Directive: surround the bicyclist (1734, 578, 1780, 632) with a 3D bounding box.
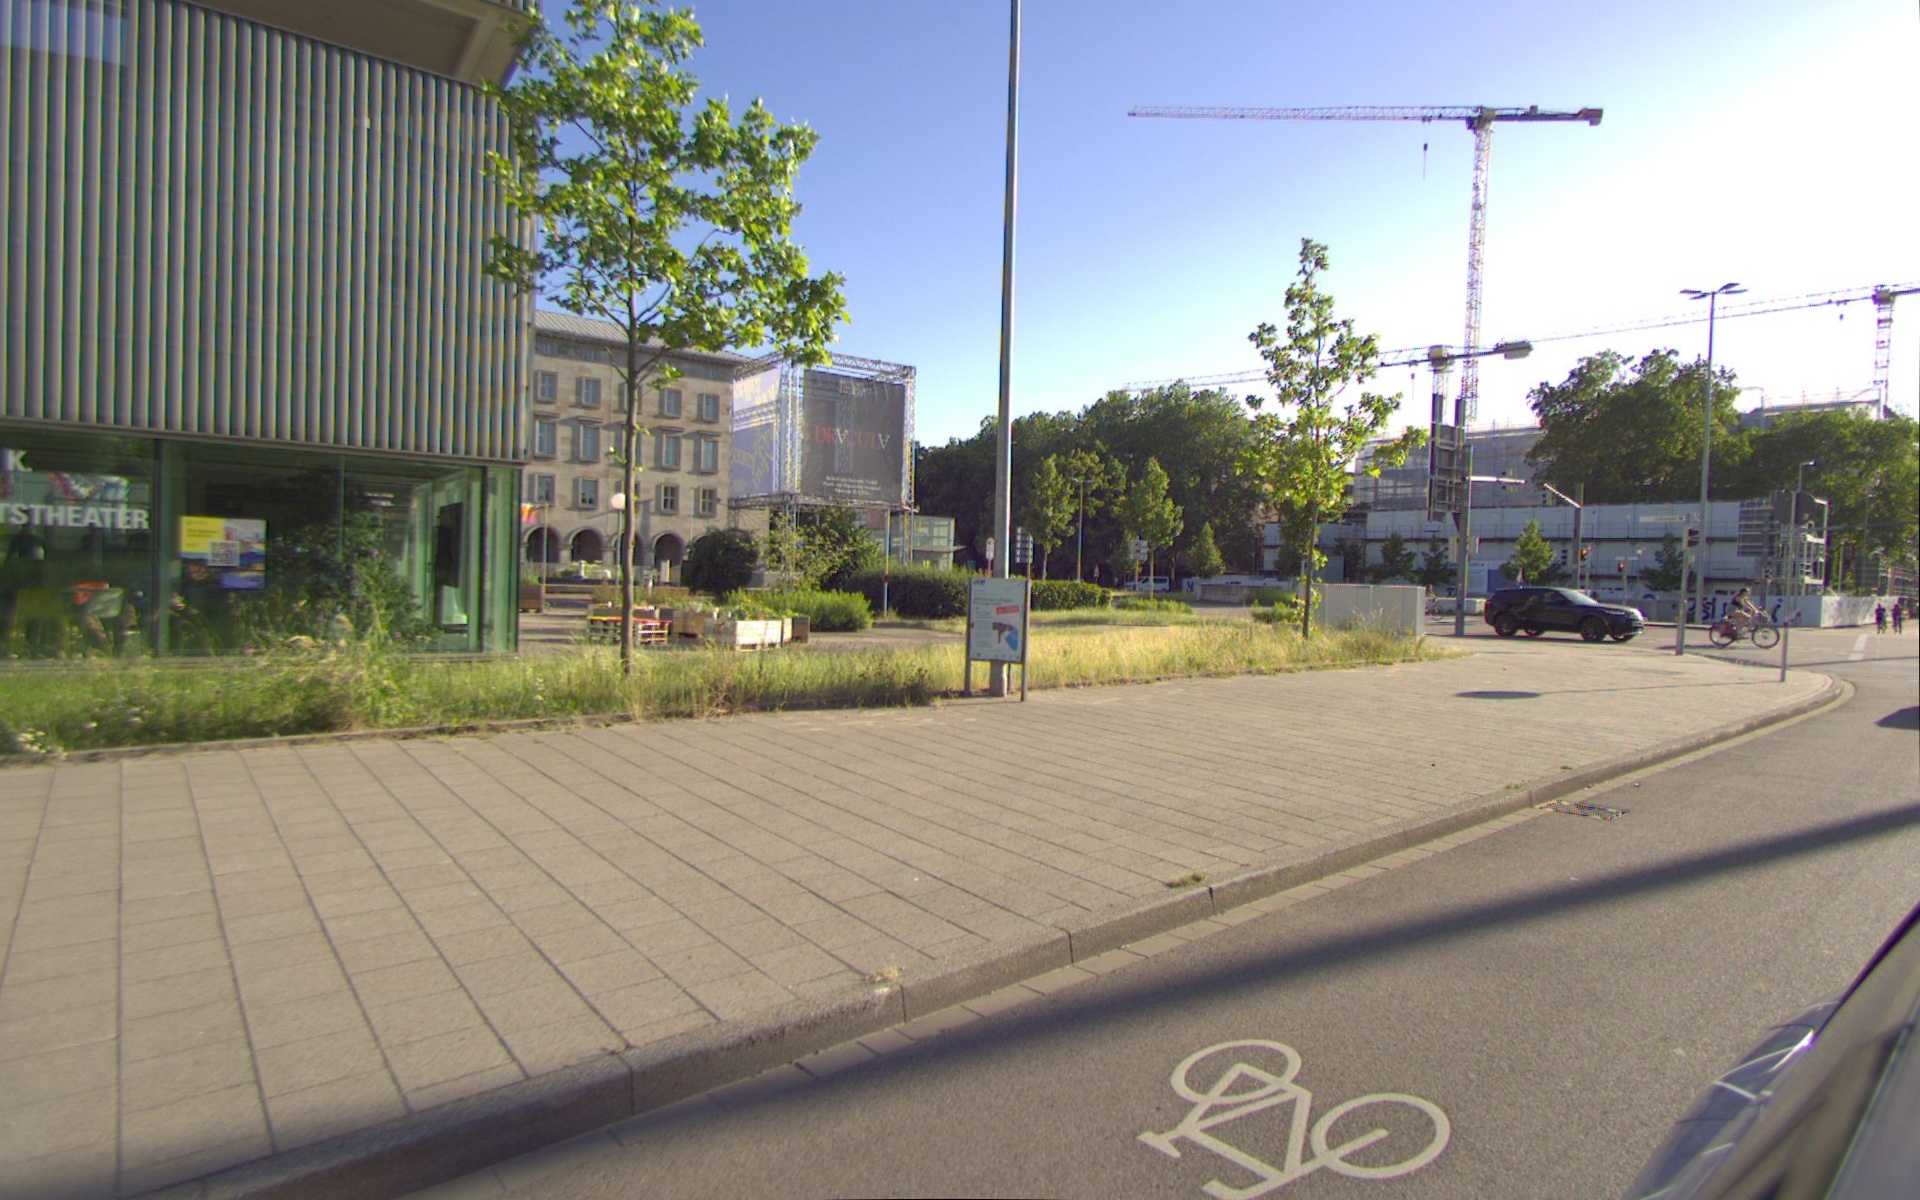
[{"bbox_3d":[24.604,0.148,31.249,0.613,1.594,0.896,1,1,-29],"label":"bicyclist"}]

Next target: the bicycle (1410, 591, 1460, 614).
[{"bbox_3d":[21.071,0.110,44.896,0.614,0.920,1.908,-1,3,-40],"label":"bicycle"}]

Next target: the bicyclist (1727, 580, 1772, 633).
[{"bbox_3d":[23.945,0.181,30.716,0.639,1.562,0.849,1,1,-29],"label":"bicyclist"}]

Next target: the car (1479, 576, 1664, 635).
[{"bbox_3d":[19.901,0.143,33.165,1.960,1.682,4.799,1,2,-29],"label":"car"}]

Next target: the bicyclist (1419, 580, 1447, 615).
[{"bbox_3d":[21.023,-0.126,44.957,0.614,1.522,0.937,-1,2,-40],"label":"bicyclist"}]

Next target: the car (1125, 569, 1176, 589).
[{"bbox_3d":[20.022,-2.219,106.242,5.223,1.915,2.003,1,1,-29],"label":"car"}]

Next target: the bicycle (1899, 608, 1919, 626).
[{"bbox_3d":[52.548,0.951,55.999,0.803,0.939,2.044,2,1,44],"label":"bicycle"}]

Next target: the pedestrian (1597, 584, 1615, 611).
[{"bbox_3d":[41.275,-0.179,64.655,0.824,1.701,0.654,1,1,-34],"label":"pedestrian"}]

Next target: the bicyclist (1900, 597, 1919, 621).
[{"bbox_3d":[52.563,0.505,56.001,0.803,1.314,0.764,2,1,44],"label":"bicyclist"}]

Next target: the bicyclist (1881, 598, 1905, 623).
[{"bbox_3d":[50.425,0.566,54.714,0.788,1.286,0.639,1,1,-18],"label":"bicyclist"}]

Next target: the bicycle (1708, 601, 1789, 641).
[{"bbox_3d":[23.918,0.614,30.741,0.639,1.107,1.803,1,2,-29],"label":"bicycle"}]

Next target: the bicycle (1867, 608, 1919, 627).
[{"bbox_3d":[50.442,0.936,54.650,0.788,0.939,2.082,1,1,-18],"label":"bicycle"}]

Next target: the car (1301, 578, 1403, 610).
[{"bbox_3d":[19.265,-0.329,49.966,1.742,1.368,4.530,0,3,-33],"label":"car"}]

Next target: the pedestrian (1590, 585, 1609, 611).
[{"bbox_3d":[40.437,-0.099,63.977,0.824,1.608,0.654,1,1,-34],"label":"pedestrian"}]

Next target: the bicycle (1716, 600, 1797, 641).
[{"bbox_3d":[24.578,0.615,31.262,0.613,1.130,1.819,1,2,-29],"label":"bicycle"}]
